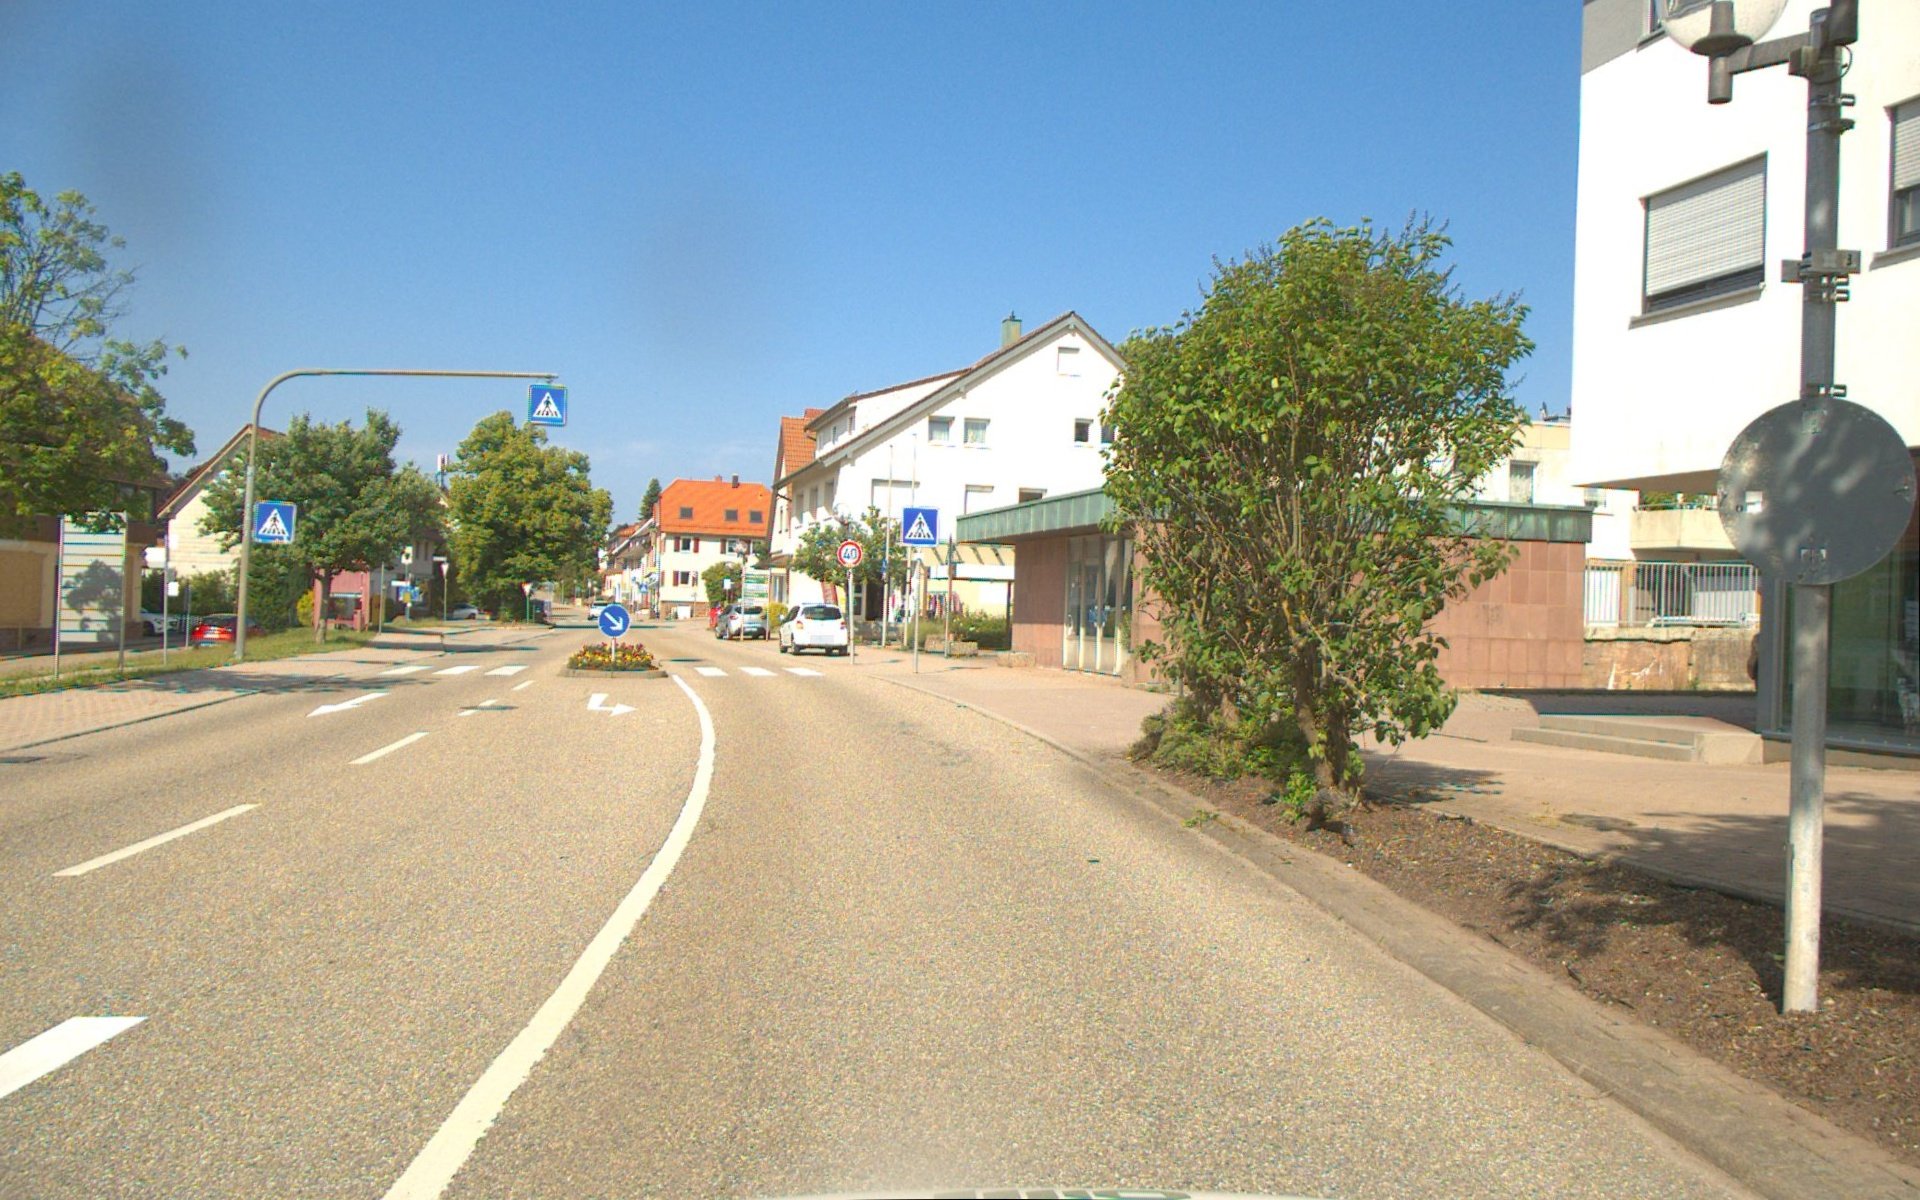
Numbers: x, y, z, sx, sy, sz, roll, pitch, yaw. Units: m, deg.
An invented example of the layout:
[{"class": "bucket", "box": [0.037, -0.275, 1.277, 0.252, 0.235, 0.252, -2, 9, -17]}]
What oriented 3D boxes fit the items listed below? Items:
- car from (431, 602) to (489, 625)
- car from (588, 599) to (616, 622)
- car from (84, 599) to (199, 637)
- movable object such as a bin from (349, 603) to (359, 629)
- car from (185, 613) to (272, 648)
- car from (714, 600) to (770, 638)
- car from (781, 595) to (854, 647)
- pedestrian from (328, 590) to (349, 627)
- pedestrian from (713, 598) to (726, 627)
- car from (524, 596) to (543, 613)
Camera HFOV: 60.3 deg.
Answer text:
[{"class": "car", "box": [-36.709, 0.977, 121.424, 3.683, 1.480, 1.816, -1, -5, -2]}, {"class": "car", "box": [-33.415, 0.941, 154.205, 2.453, 2.049, 4.289, -1, 0, -14]}, {"class": "car", "box": [-36.863, 0.822, 74.555, 4.217, 1.538, 1.798, 2, -2, -4]}, {"class": "movable object such as a bin", "box": [-20.495, 0.536, 55.925, 0.300, 0.852, 0.483, 0, -1, -16]}, {"class": "car", "box": [-29.458, 1.197, 66.741, 1.685, 1.320, 4.000, -1, 0, 1]}, {"class": "car", "box": [-8.781, 0.742, 66.330, 1.609, 1.444, 3.916, -1, 0, -17]}, {"class": "car", "box": [-4.227, 0.590, 48.614, 1.729, 1.448, 3.624, -1, 0, -11]}, {"class": "pedestrian", "box": [-21.863, 0.305, 58.175, 0.619, 1.275, 0.422, -1, 0, -17]}, {"class": "pedestrian", "box": [-15.451, 0.788, 106.150, 0.784, 1.815, 0.977, 0, 0, -9]}, {"class": "car", "box": [-42.985, 0.484, 166.835, 1.644, 1.560, 3.522, 5, -1, -14]}]
